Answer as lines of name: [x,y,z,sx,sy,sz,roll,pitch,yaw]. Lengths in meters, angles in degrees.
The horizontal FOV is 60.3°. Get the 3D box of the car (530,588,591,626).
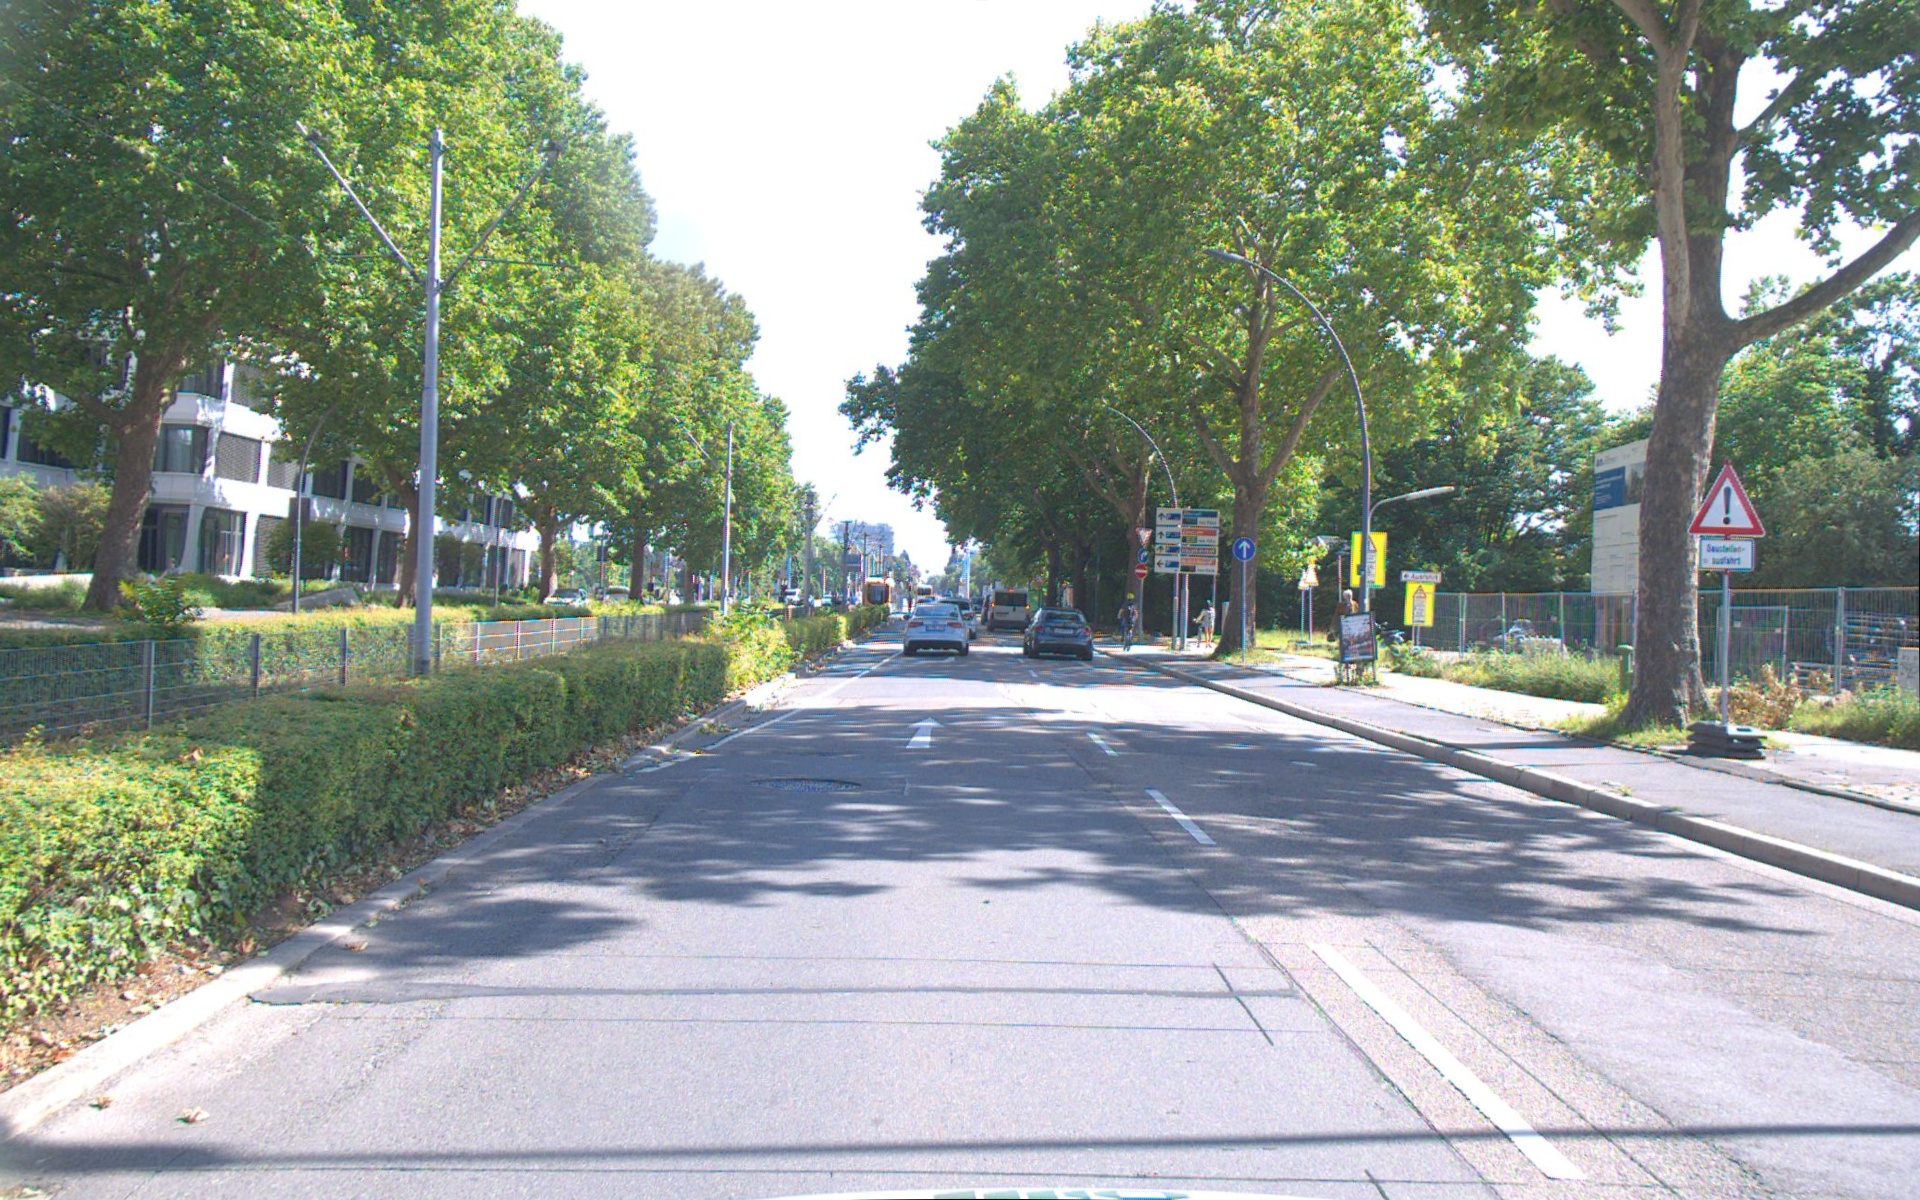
car: [-17.905,0.305,74.267,1.721,1.597,4.018,2,0,0]

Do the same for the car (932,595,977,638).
car: [-0.205,0.659,66.696,1.694,1.633,3.884,2,0,0]

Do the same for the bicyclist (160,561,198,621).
bicyclist: [-21.021,-0.237,44.514,0.641,1.561,0.641,2,0,0]

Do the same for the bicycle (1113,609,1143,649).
bicycle: [5.471,0.927,53.922,0.700,1.168,2.178,-1,2,-1]

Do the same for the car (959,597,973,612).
car: [0.781,0.621,217.502,1.694,1.935,4.000,2,0,0]

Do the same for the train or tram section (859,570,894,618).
train or tram section: [-7.434,-0.547,147.760,2.563,4.085,7.748,2,0,0]

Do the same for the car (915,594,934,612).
car: [-3.364,0.266,157.007,1.694,1.659,4.000,2,0,0]

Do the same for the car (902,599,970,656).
car: [-0.643,0.739,46.154,1.748,1.445,3.884,2,0,0]

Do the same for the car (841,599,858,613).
car: [-14.726,0.770,220.035,1.953,1.764,4.000,2,0,0]

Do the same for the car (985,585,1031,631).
car: [2.495,0.400,86.234,2.184,2.250,4.161,2,0,0]

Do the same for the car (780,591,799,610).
car: [-23.149,0.079,224.235,2.071,2.424,4.000,2,0,0]

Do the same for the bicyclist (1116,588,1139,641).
bicyclist: [5.454,0.476,53.977,0.621,1.677,0.979,-1,1,-1]

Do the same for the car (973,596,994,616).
car: [2.447,0.600,173.850,2.030,2.034,4.058,2,0,0]

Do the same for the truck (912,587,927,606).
truck: [-6.367,-0.580,260.555,1.953,2.839,8.518,2,0,0]

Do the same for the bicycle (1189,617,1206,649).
bicycle: [8.655,1.192,60.355,0.342,1.101,1.699,2,0,-1]

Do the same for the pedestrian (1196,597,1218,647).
pedestrian: [9.038,0.799,60.513,0.619,1.816,0.874,2,0,-1]

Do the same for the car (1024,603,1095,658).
car: [2.800,0.845,47.313,1.746,1.445,4.000,2,0,0]

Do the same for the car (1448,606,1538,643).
car: [23.131,1.075,71.689,3.953,1.479,1.664,2,0,-35]

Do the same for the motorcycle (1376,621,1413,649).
motorcycle: [16.238,1.299,61.824,1.196,0.984,0.470,2,0,-7]

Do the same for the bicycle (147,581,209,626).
bicycle: [-21.027,0.087,44.530,0.650,1.144,2.030,2,0,0]

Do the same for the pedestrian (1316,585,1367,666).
pedestrian: [9.355,0.618,40.620,0.919,1.925,1.151,2,0,0]
